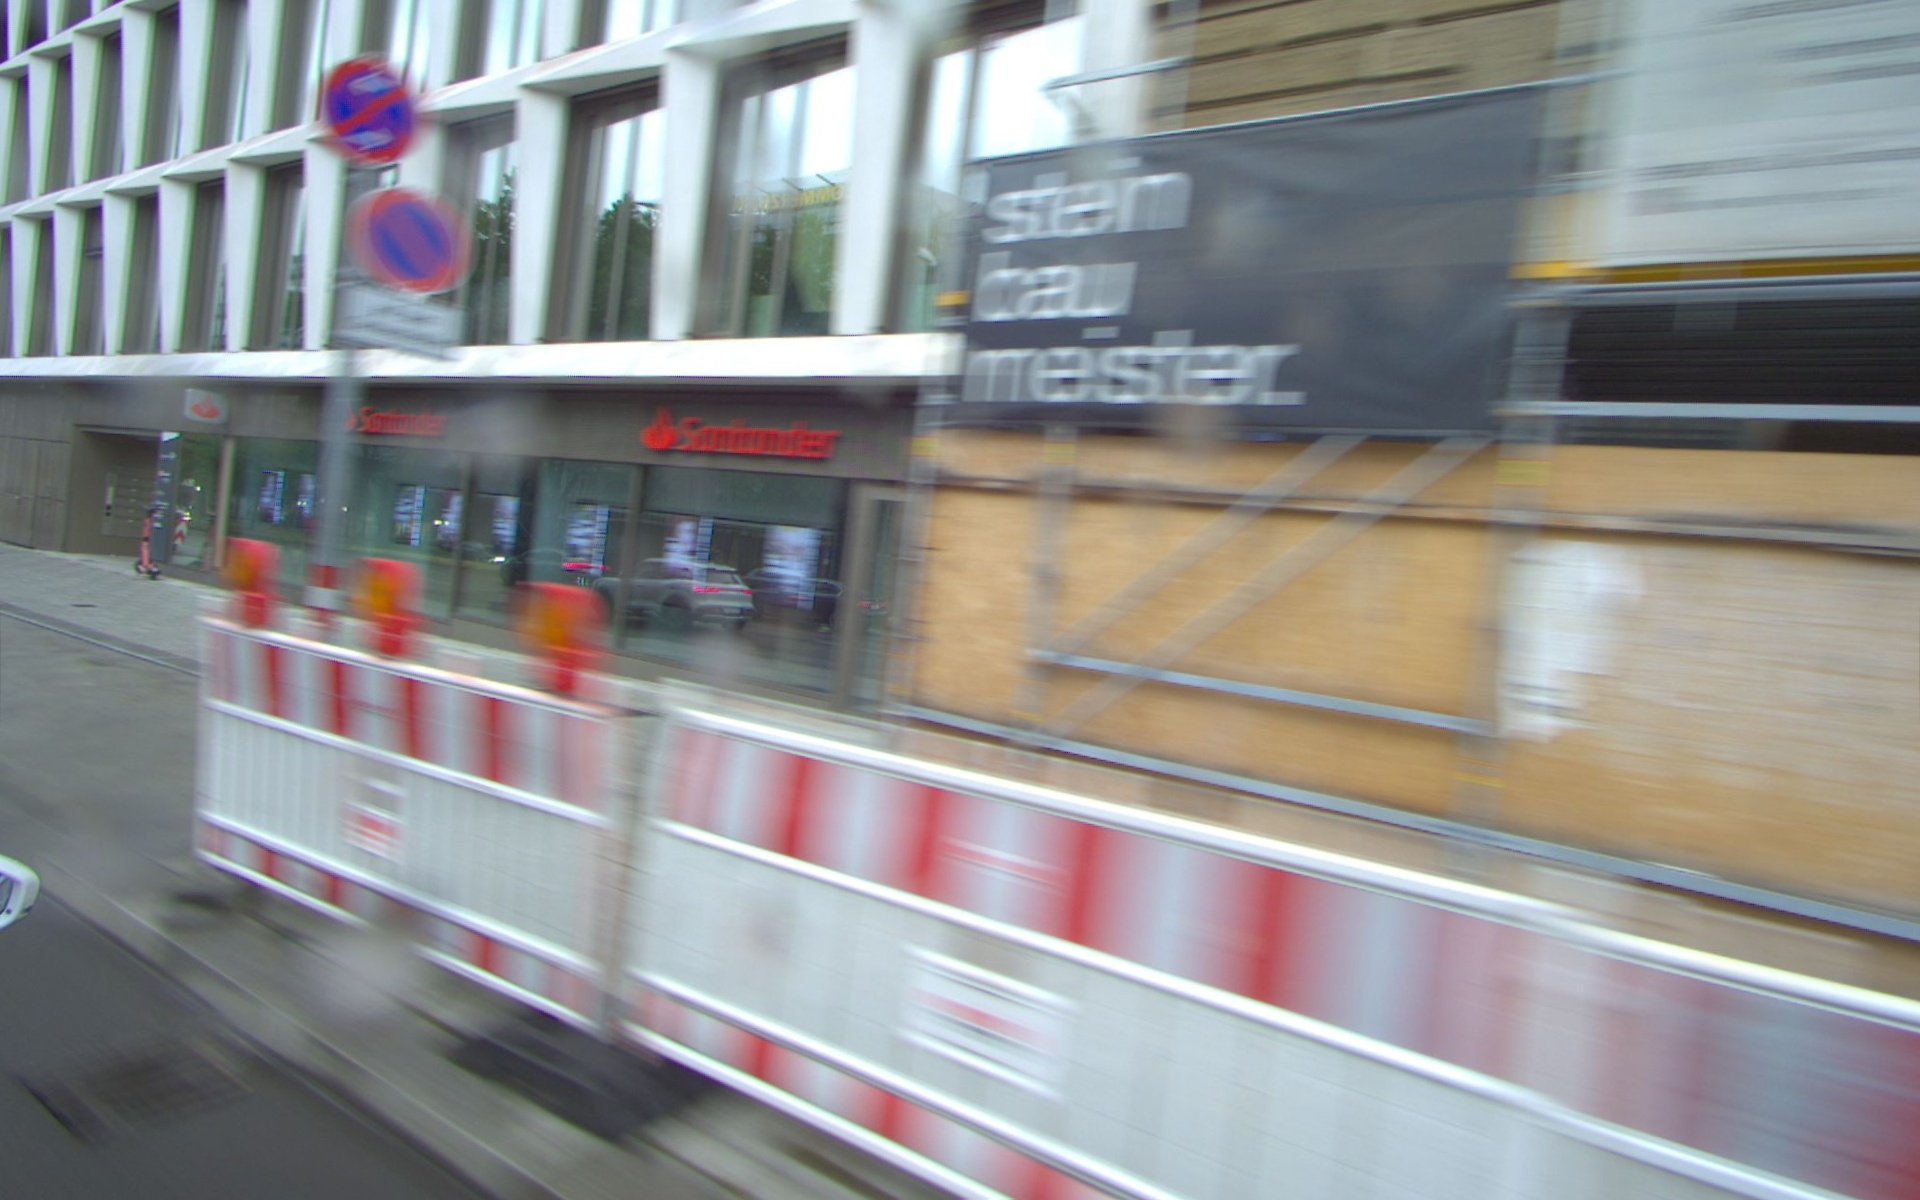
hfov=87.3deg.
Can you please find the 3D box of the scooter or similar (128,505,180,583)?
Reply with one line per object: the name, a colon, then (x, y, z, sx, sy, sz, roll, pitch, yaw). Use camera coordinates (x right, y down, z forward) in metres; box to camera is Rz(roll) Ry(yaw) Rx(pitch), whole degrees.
scooter or similar: (-14.118, -0.990, 17.618, 1.172, 1.251, 0.411, 7, 1, 41)
